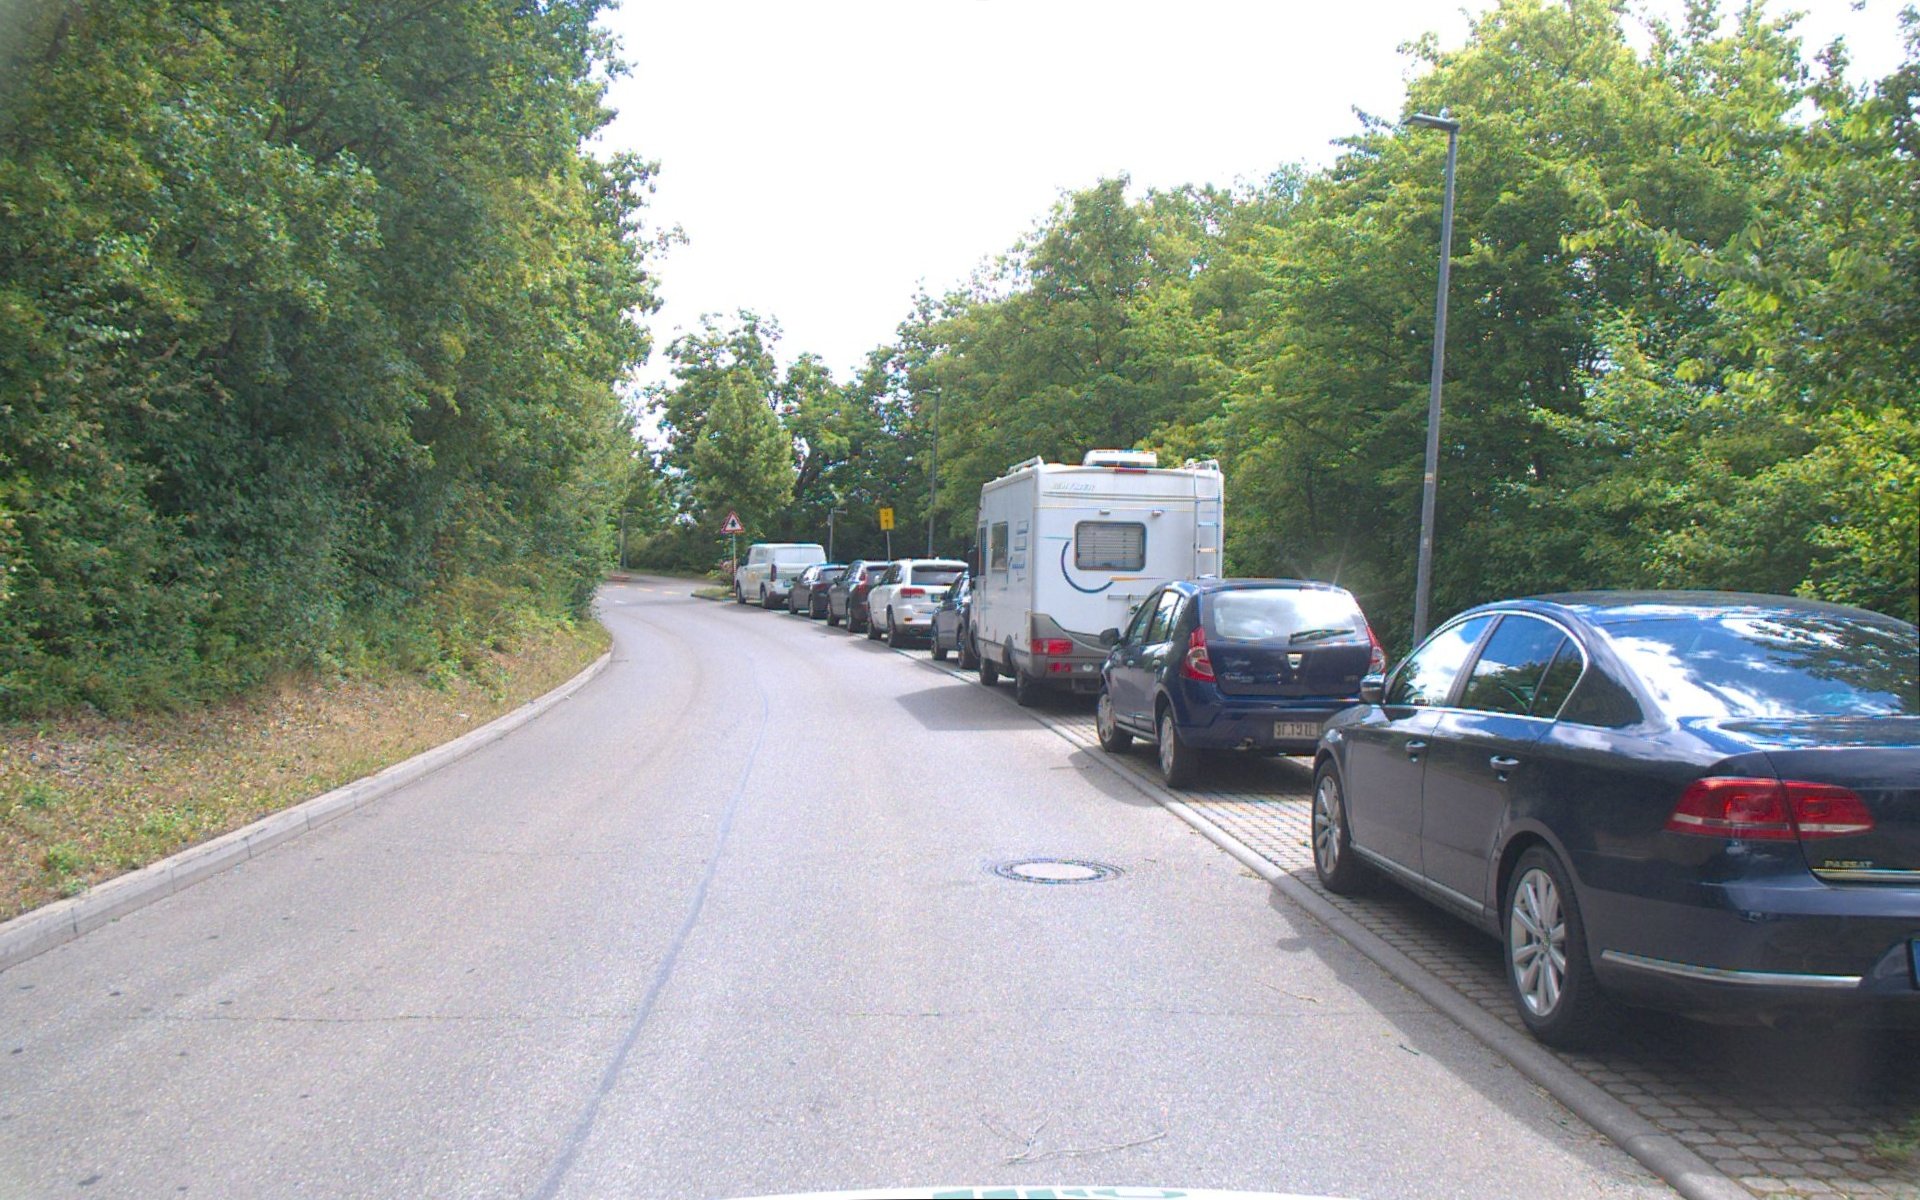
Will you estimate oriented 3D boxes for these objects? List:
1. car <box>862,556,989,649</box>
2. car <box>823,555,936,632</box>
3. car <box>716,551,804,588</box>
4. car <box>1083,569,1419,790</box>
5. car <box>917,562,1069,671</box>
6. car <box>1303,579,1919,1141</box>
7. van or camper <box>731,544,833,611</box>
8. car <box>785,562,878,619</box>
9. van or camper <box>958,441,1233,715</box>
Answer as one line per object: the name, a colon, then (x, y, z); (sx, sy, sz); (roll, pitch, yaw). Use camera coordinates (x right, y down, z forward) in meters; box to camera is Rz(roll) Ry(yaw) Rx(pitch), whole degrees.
car: (-0.793, -0.008, 34.321); (1.838, 1.718, 4.567); (2, 1, -11)
car: (-2.020, -0.207, 40.212); (1.960, 1.654, 4.264); (-2, 3, -13)
car: (-8.546, -1.302, 70.564); (3.481, 1.506, 1.773); (0, 3, -18)
car: (2.208, 0.564, 13.604); (1.696, 1.545, 3.883); (0, 0, -7)
car: (0.465, 0.223, 27.410); (1.680, 1.619, 3.990); (2, 1, -11)
car: (2.745, 0.652, 6.511); (1.740, 1.459, 4.332); (0, 1, -2)
van or camper: (-5.685, -0.775, 52.234); (1.965, 1.953, 5.234); (-1, 3, -21)
car: (-3.672, -0.294, 46.738); (1.770, 1.489, 3.981); (1, 1, -18)
van or camper: (1.487, -0.284, 21.120); (2.288, 2.919, 6.142); (2, 1, -7)
